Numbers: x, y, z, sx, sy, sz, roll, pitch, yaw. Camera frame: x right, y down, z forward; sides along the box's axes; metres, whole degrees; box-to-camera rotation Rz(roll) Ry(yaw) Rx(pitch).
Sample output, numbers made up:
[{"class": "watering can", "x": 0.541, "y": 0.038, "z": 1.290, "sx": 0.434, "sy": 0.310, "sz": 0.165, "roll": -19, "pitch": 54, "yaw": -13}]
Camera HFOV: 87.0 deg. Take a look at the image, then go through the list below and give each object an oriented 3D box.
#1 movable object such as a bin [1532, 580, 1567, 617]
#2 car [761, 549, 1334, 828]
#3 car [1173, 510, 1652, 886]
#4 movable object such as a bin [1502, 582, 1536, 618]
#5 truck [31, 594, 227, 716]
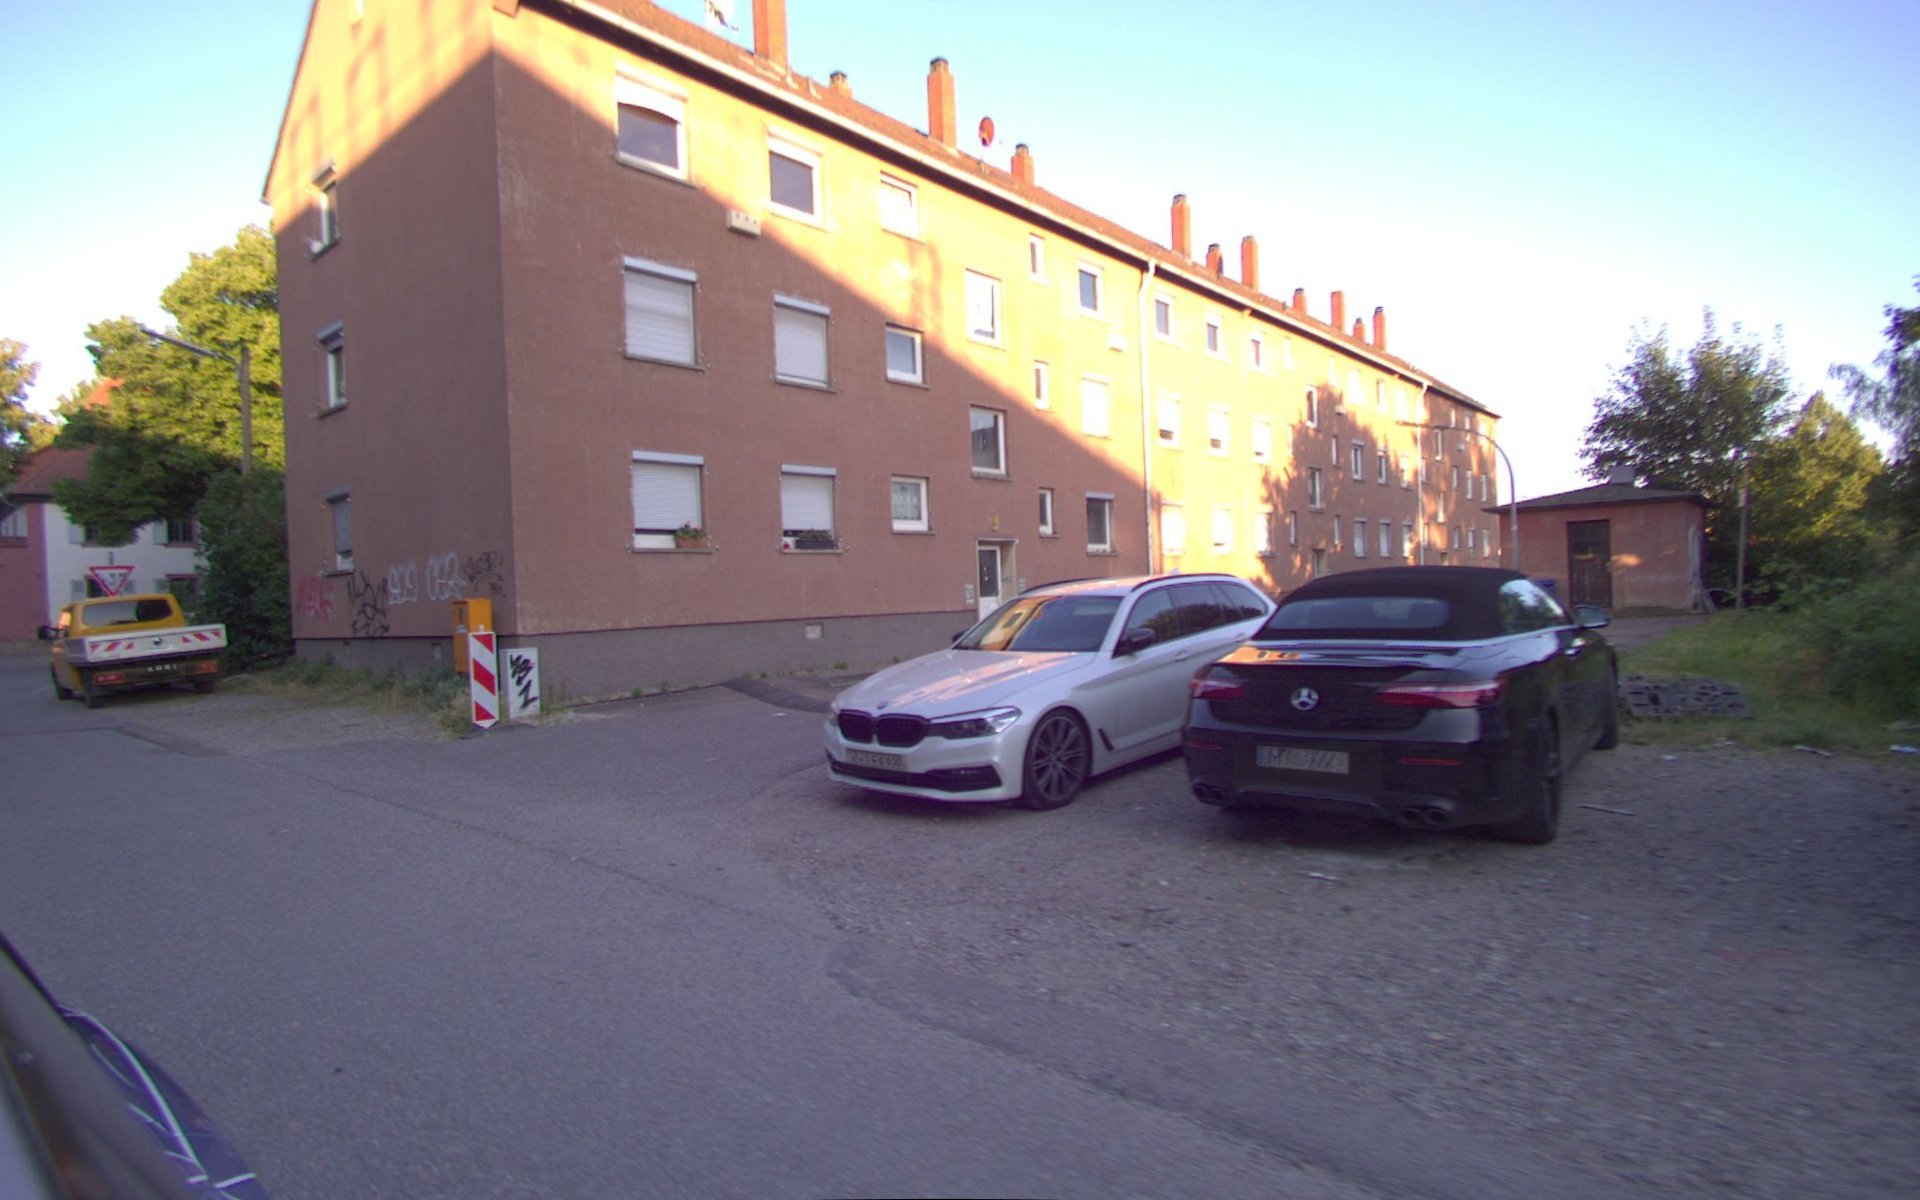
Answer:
[{"class": "movable object such as a bin", "x": 15.323, "y": -0.047, "z": 26.294, "sx": 0.645, "sy": 0.910, "sz": 0.605, "roll": -2, "pitch": 1, "yaw": 42}, {"class": "car", "x": 1.038, "y": 0.445, "z": 8.355, "sx": 2.115, "sy": 1.556, "sz": 4.941, "roll": -2, "pitch": 1, "yaw": 42}, {"class": "car", "x": 3.158, "y": 0.331, "z": 6.436, "sx": 1.725, "sy": 1.556, "sz": 4.374, "roll": -2, "pitch": 1, "yaw": 38}, {"class": "movable object such as a bin", "x": 14.777, "y": -0.005, "z": 26.761, "sx": 0.645, "sy": 0.910, "sz": 0.605, "roll": -2, "pitch": 1, "yaw": 42}, {"class": "truck", "x": -16.055, "y": 0.971, "z": 19.417, "sx": 5.659, "sy": 1.927, "sz": 2.013, "roll": -2, "pitch": 2, "yaw": 42}]
